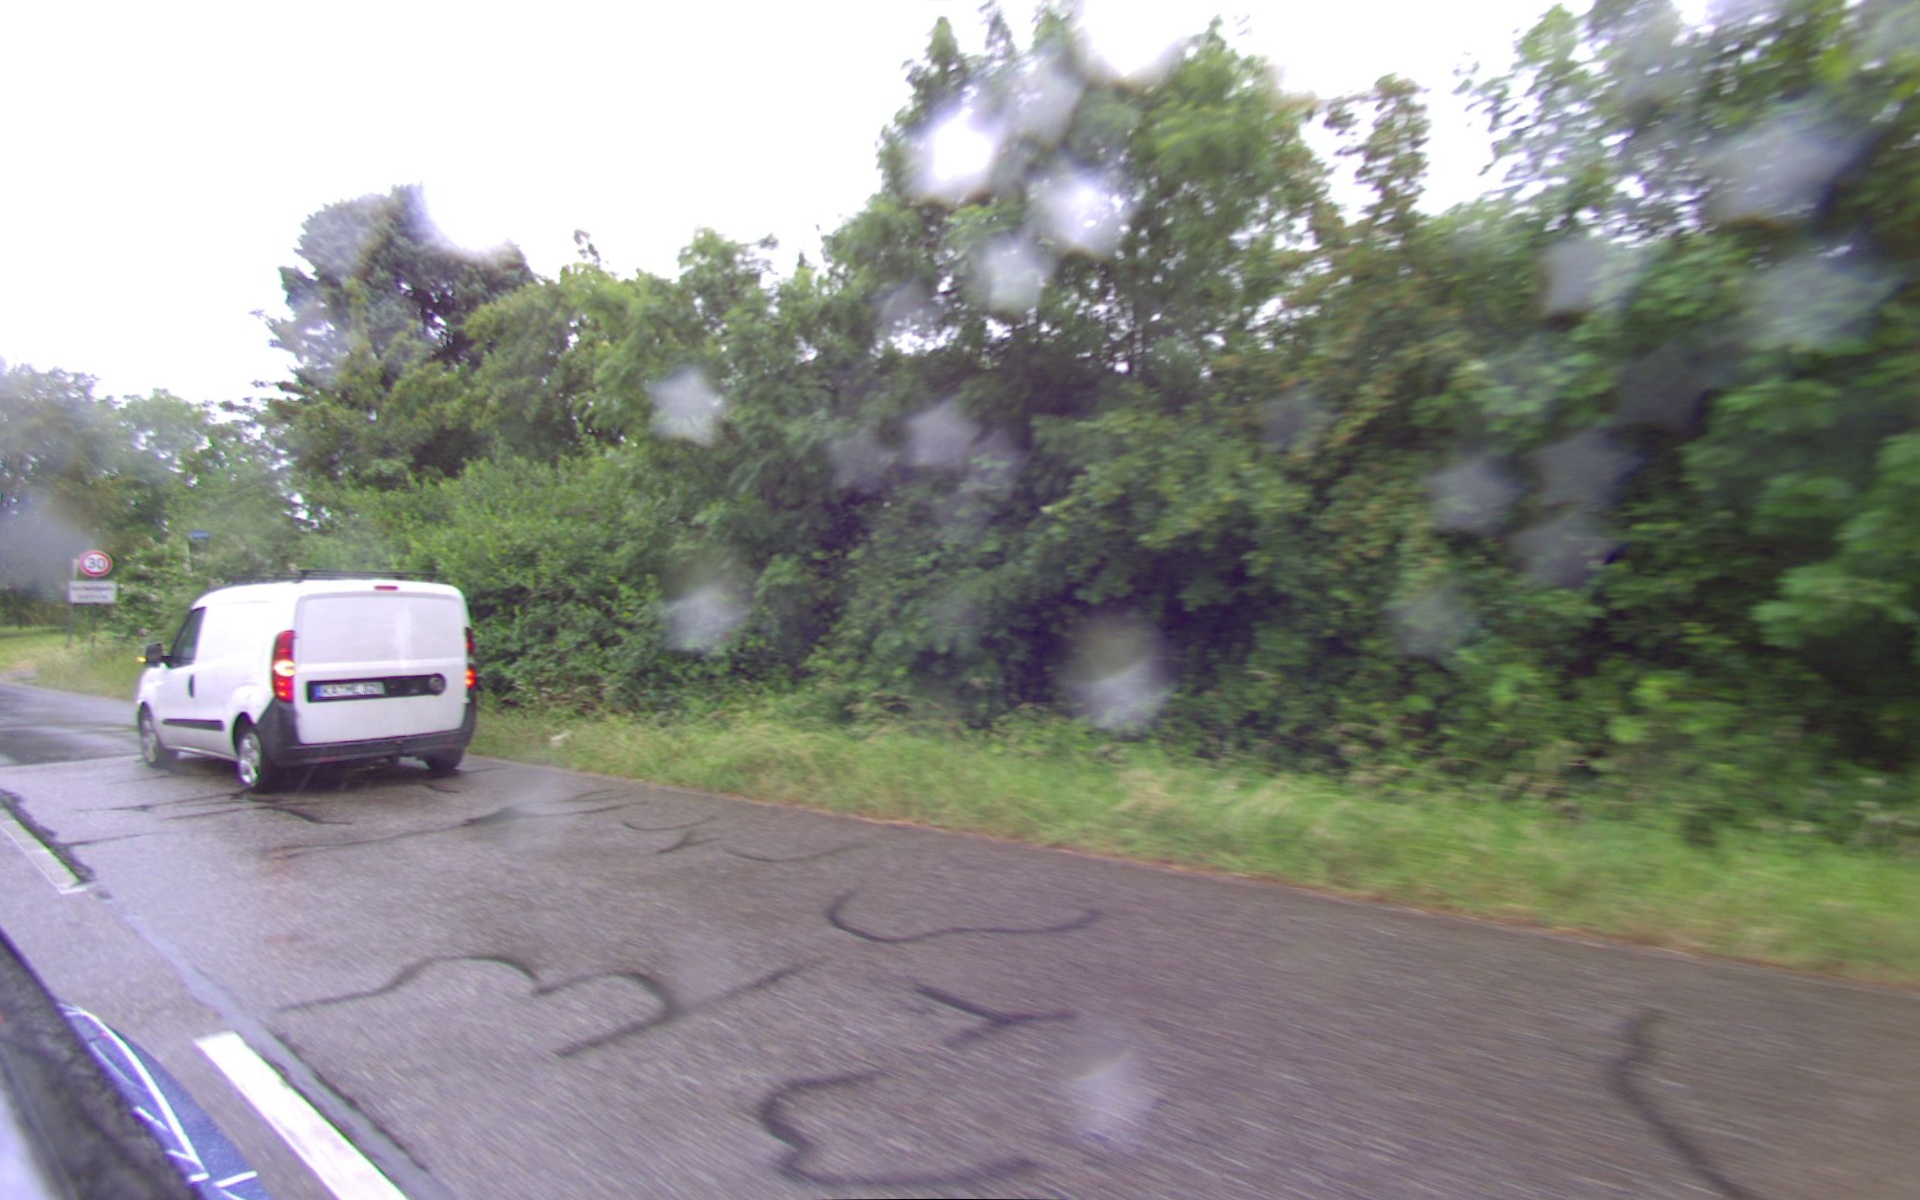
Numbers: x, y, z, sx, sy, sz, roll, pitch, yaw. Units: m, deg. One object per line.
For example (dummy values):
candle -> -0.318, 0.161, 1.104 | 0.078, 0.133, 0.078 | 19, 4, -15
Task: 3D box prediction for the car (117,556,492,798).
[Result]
car -> -6.422, 0.607, 9.779 | 3.948, 1.878, 1.815 | -1, 0, 37
